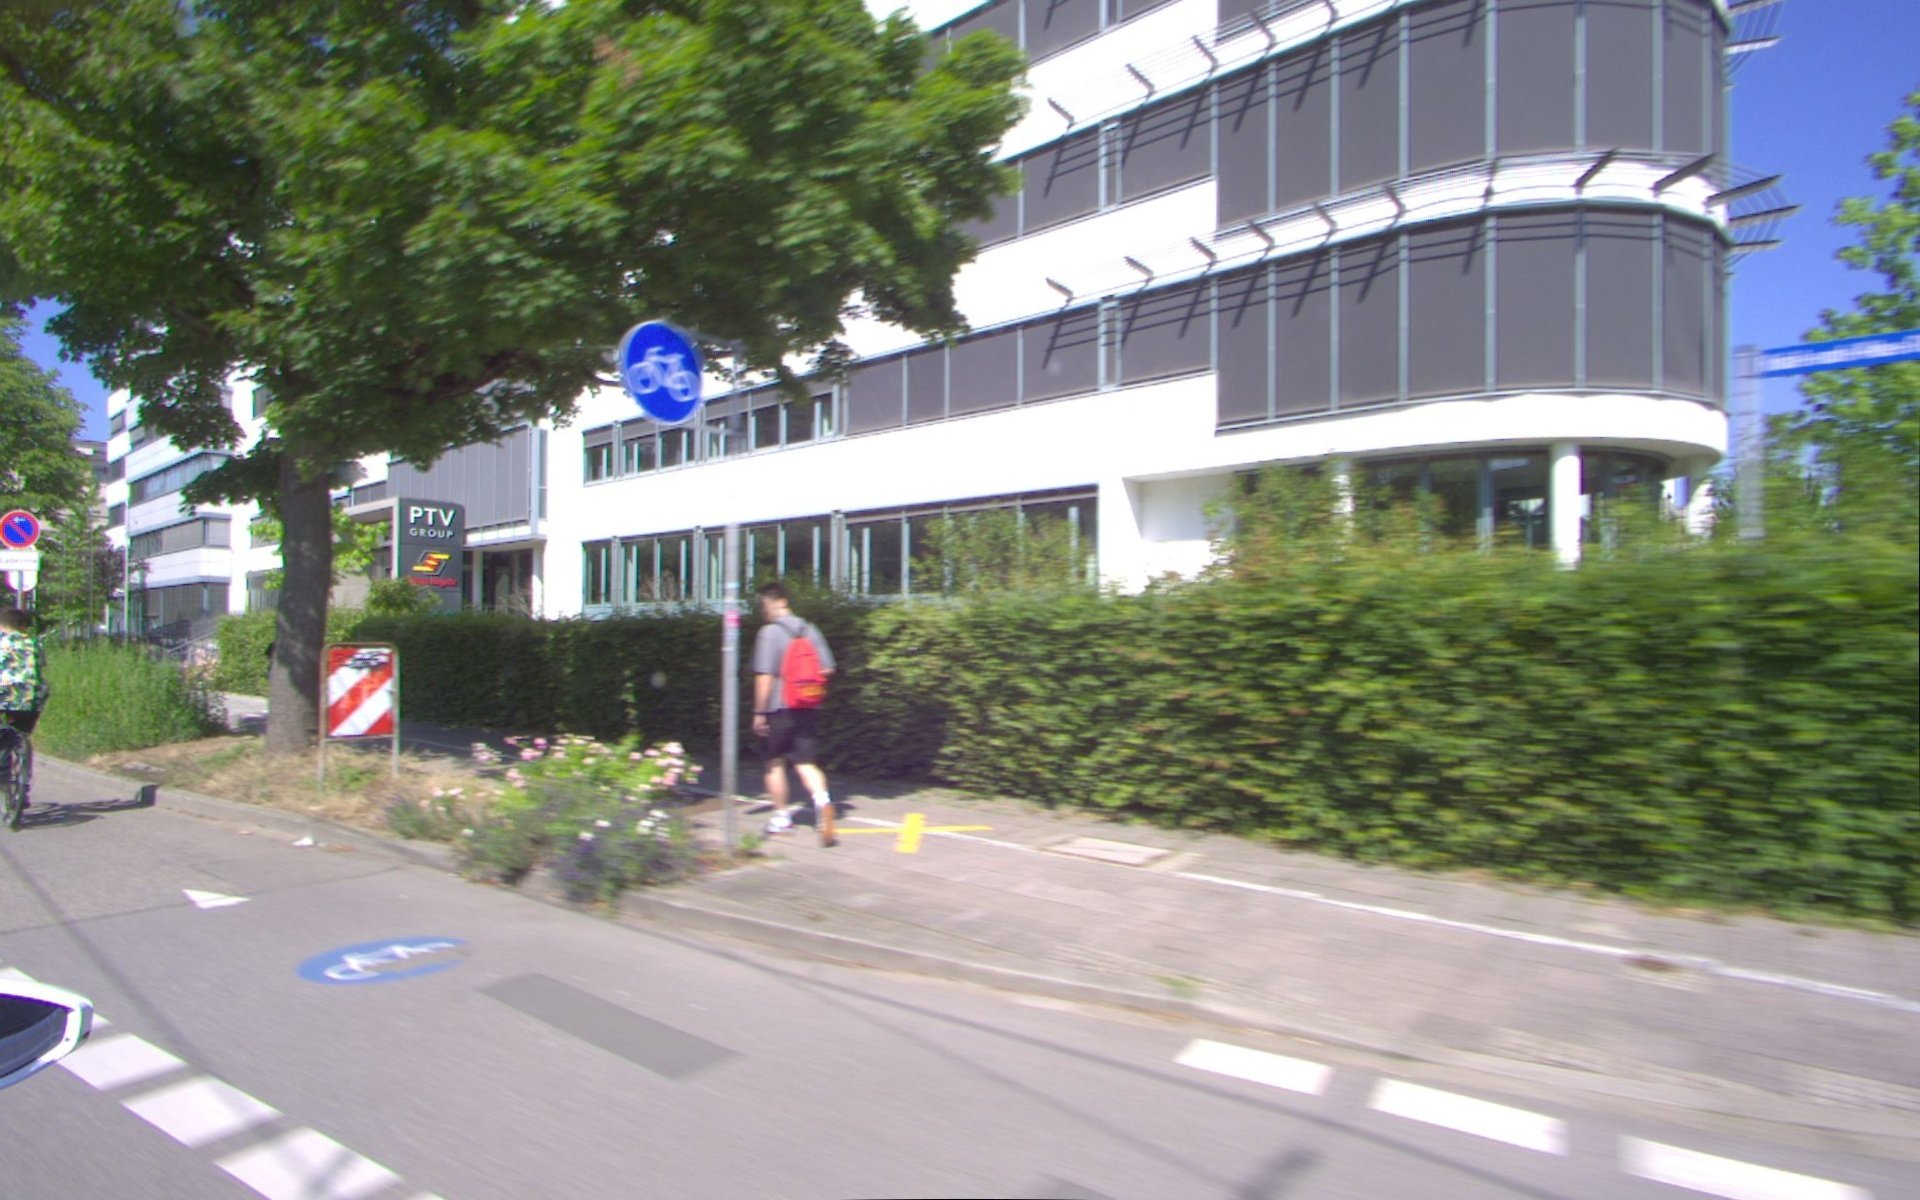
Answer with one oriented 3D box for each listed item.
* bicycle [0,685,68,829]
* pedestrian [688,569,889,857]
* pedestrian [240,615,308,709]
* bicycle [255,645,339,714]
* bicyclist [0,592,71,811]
[{"bbox_3d":[-8.045,1.255,8.332,2.138,0.996,0.606,-1,-3,40],"label":"bicycle"},{"bbox_3d":[-1.203,0.748,7.080,1.058,1.841,0.887,0,-2,33],"label":"pedestrian"},{"bbox_3d":[-11.937,1.051,17.415,0.975,1.584,0.684,-1,0,36],"label":"pedestrian"},{"bbox_3d":[-11.696,1.371,17.645,2.042,1.131,0.633,-1,-3,39],"label":"bicycle"},{"bbox_3d":[-8.005,0.822,8.338,0.976,1.746,0.713,-1,-2,39],"label":"bicyclist"}]
